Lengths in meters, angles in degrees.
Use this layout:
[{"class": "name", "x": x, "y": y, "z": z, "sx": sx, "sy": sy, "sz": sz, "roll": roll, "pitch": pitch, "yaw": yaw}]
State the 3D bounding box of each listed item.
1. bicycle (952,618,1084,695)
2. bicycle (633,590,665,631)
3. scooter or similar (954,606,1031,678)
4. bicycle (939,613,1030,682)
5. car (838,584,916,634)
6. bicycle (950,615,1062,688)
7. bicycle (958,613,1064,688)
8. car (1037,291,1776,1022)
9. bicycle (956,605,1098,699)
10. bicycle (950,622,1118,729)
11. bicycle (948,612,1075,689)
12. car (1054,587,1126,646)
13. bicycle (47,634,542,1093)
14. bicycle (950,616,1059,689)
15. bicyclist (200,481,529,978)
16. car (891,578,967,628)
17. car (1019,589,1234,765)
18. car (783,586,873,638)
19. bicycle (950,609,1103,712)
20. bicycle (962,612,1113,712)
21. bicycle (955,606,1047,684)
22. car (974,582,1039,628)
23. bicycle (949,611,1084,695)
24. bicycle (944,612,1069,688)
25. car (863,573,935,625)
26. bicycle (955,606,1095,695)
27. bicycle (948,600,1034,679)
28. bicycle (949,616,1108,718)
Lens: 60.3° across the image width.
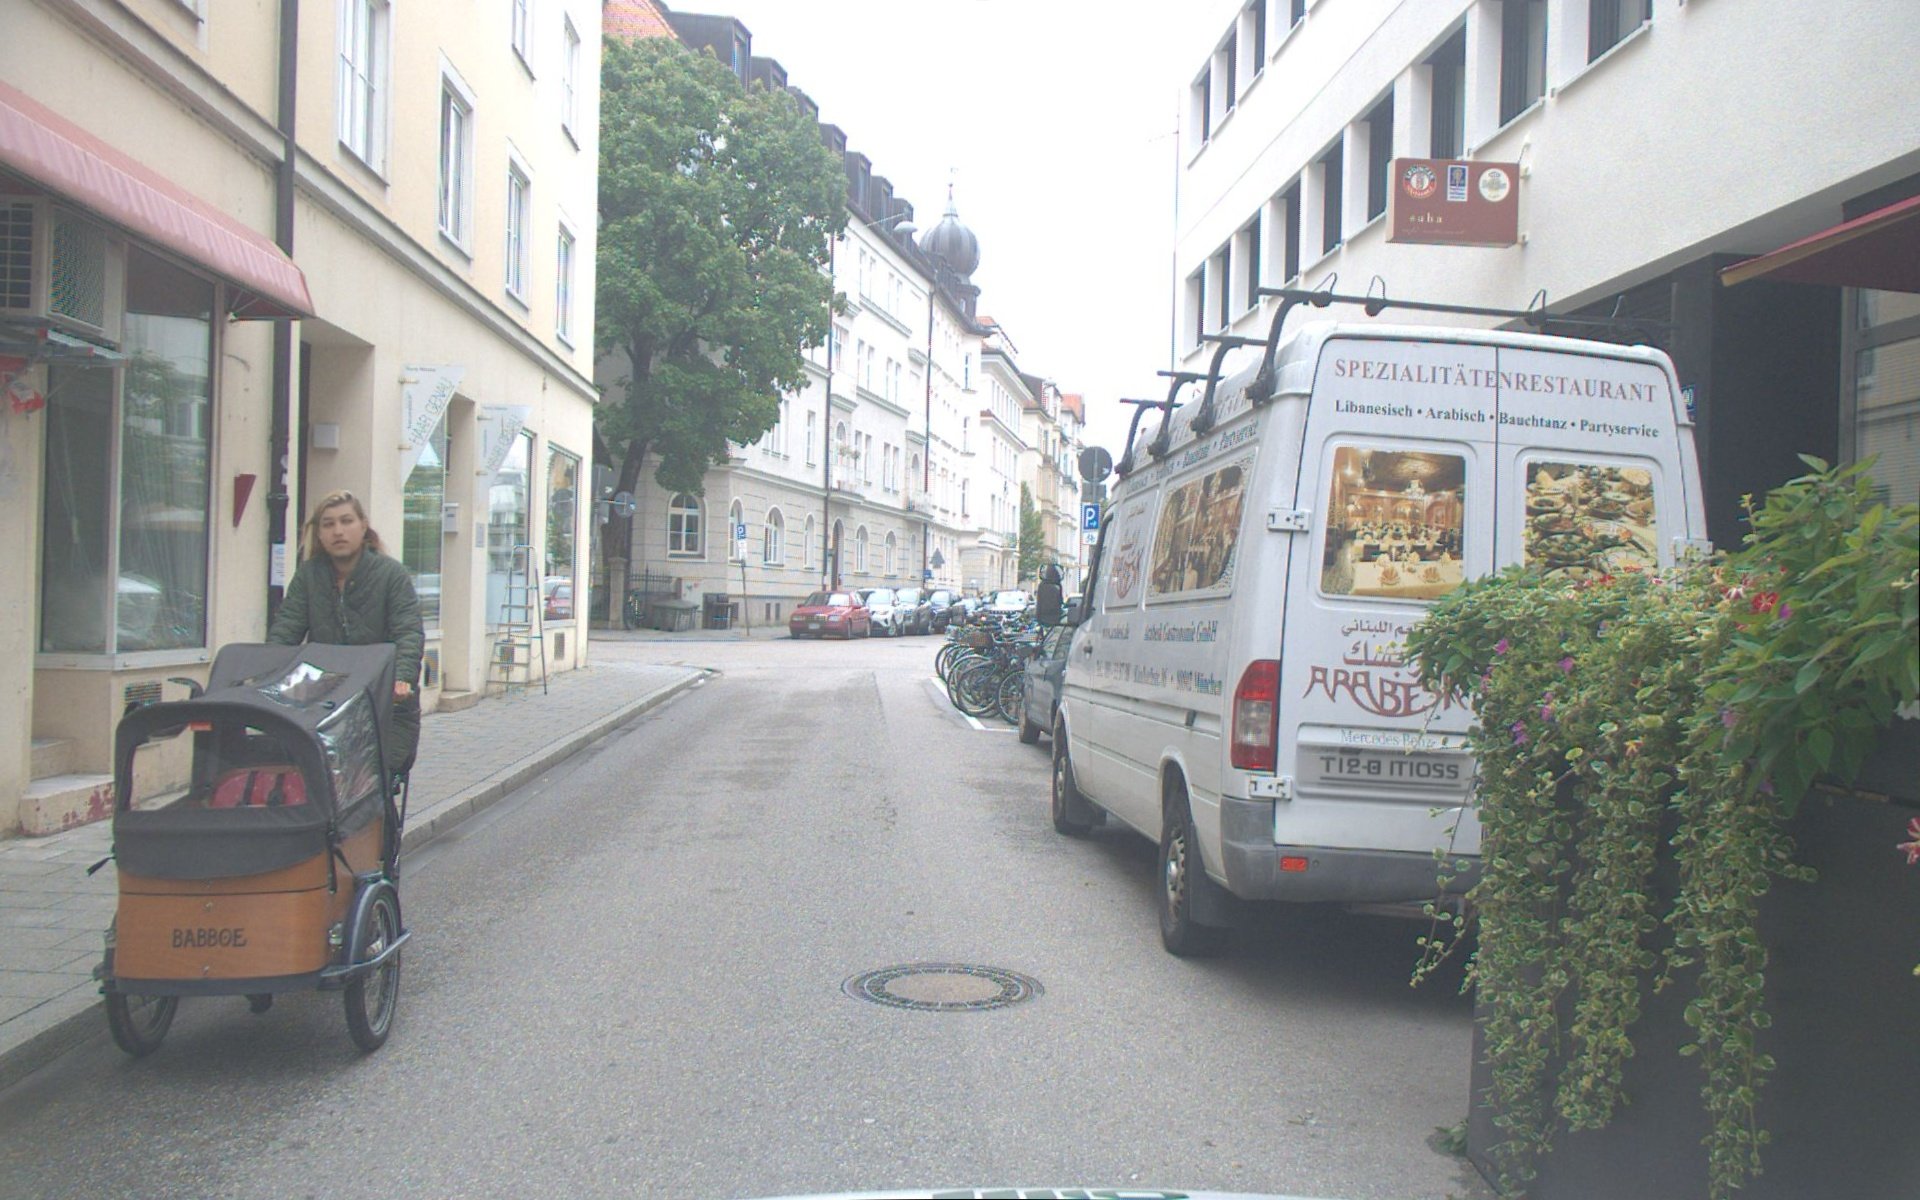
[{"class": "bicycle", "x": 0.841, "y": 0.814, "z": 23.985, "sx": 1.838, "sy": 1.070, "sz": 0.563, "roll": 1, "pitch": -1, "yaw": -7}, {"class": "bicycle", "x": -8.787, "y": 0.283, "z": 46.805, "sx": 0.483, "sy": 1.071, "sz": 1.828, "roll": 1, "pitch": 2, "yaw": 2}, {"class": "scooter or similar", "x": 0.579, "y": 0.744, "z": 29.393, "sx": 1.325, "sy": 1.231, "sz": 0.417, "roll": 1, "pitch": 0, "yaw": -2}, {"class": "bicycle", "x": 0.406, "y": 0.792, "z": 27.573, "sx": 1.425, "sy": 1.088, "sz": 0.462, "roll": 2, "pitch": 0, "yaw": -11}, {"class": "car", "x": -2.632, "y": 0.262, "z": 53.362, "sx": 1.951, "sy": 1.499, "sz": 4.221, "roll": 1, "pitch": 0, "yaw": 5}, {"class": "bicycle", "x": 0.726, "y": 0.818, "z": 26.357, "sx": 1.707, "sy": 1.098, "sz": 0.451, "roll": 1, "pitch": 1, "yaw": -7}, {"class": "bicycle", "x": 0.788, "y": 0.780, "z": 25.561, "sx": 1.582, "sy": 1.098, "sz": 0.377, "roll": 1, "pitch": 1, "yaw": -7}, {"class": "car", "x": 1.760, "y": 0.191, "z": 8.930, "sx": 1.883, "sy": 2.549, "sz": 5.992, "roll": 2, "pitch": 0, "yaw": -4}, {"class": "bicycle", "x": 0.889, "y": 0.686, "z": 22.111, "sx": 1.837, "sy": 1.225, "sz": 0.579, "roll": 0, "pitch": 0, "yaw": -6}, {"class": "bicycle", "x": 0.851, "y": 0.869, "z": 19.168, "sx": 1.838, "sy": 1.098, "sz": 0.488, "roll": 3, "pitch": 1, "yaw": -6}, {"class": "bicycle", "x": 0.762, "y": 0.752, "z": 24.679, "sx": 1.838, "sy": 1.098, "sz": 0.402, "roll": 1, "pitch": 1, "yaw": -7}, {"class": "car", "x": 4.117, "y": 0.491, "z": 51.876, "sx": 1.781, "sy": 1.664, "sz": 4.292, "roll": 3, "pitch": 0, "yaw": 10}, {"class": "bicycle", "x": -2.226, "y": 0.782, "z": 5.992, "sx": 0.913, "sy": 1.279, "sz": 2.412, "roll": 0, "pitch": 0, "yaw": -3}, {"class": "bicycle", "x": 0.697, "y": 0.818, "z": 25.941, "sx": 1.642, "sy": 1.098, "sz": 0.335, "roll": 1, "pitch": 1, "yaw": -7}, {"class": "bicyclist", "x": -2.245, "y": 0.452, "z": 6.395, "sx": 0.908, "sy": 1.751, "sz": 1.099, "roll": 0, "pitch": 0, "yaw": -3}, {"class": "car", "x": -1.146, "y": 0.100, "z": 63.425, "sx": 1.951, "sy": 1.768, "sz": 4.526, "roll": 2, "pitch": 0, "yaw": 11}, {"class": "car", "x": 1.506, "y": 0.661, "z": 16.095, "sx": 1.549, "sy": 1.489, "sz": 3.550, "roll": 1, "pitch": 0, "yaw": -3}, {"class": "car", "x": -3.791, "y": 0.324, "z": 48.218, "sx": 1.694, "sy": 1.402, "sz": 4.230, "roll": 1, "pitch": 0, "yaw": 8}, {"class": "bicycle", "x": 0.821, "y": 0.753, "z": 20.691, "sx": 1.837, "sy": 1.225, "sz": 0.488, "roll": 1, "pitch": 1, "yaw": -6}, {"class": "bicycle", "x": 0.998, "y": 0.793, "z": 21.386, "sx": 1.837, "sy": 1.177, "sz": 0.564, "roll": 3, "pitch": 1, "yaw": -6}, {"class": "bicycle", "x": 0.669, "y": 0.734, "z": 27.138, "sx": 1.425, "sy": 1.229, "sz": 0.394, "roll": 2, "pitch": 0, "yaw": -11}, {"class": "car", "x": 1.816, "y": 0.175, "z": 62.836, "sx": 1.915, "sy": 1.636, "sz": 4.312, "roll": 1, "pitch": 0, "yaw": 9}, {"class": "bicycle", "x": 0.790, "y": 0.744, "z": 23.278, "sx": 1.838, "sy": 1.114, "sz": 0.439, "roll": 1, "pitch": 1, "yaw": -7}, {"class": "bicycle", "x": 0.699, "y": 0.759, "z": 25.114, "sx": 1.838, "sy": 1.098, "sz": 0.408, "roll": 1, "pitch": 1, "yaw": -7}, {"class": "car", "x": -2.093, "y": -0.038, "z": 58.095, "sx": 1.902, "sy": 1.732, "sz": 4.003, "roll": 2, "pitch": 0, "yaw": 6}, {"class": "bicycle", "x": 0.883, "y": 0.687, "z": 22.741, "sx": 1.857, "sy": 1.190, "sz": 0.565, "roll": 1, "pitch": 0, "yaw": -7}, {"class": "bicycle", "x": 0.530, "y": 0.675, "z": 28.591, "sx": 1.427, "sy": 1.308, "sz": 0.445, "roll": 2, "pitch": 0, "yaw": -3}, {"class": "bicycle", "x": 0.825, "y": 0.811, "z": 20.170, "sx": 1.837, "sy": 1.127, "sz": 0.488, "roll": 3, "pitch": 1, "yaw": -6}]
